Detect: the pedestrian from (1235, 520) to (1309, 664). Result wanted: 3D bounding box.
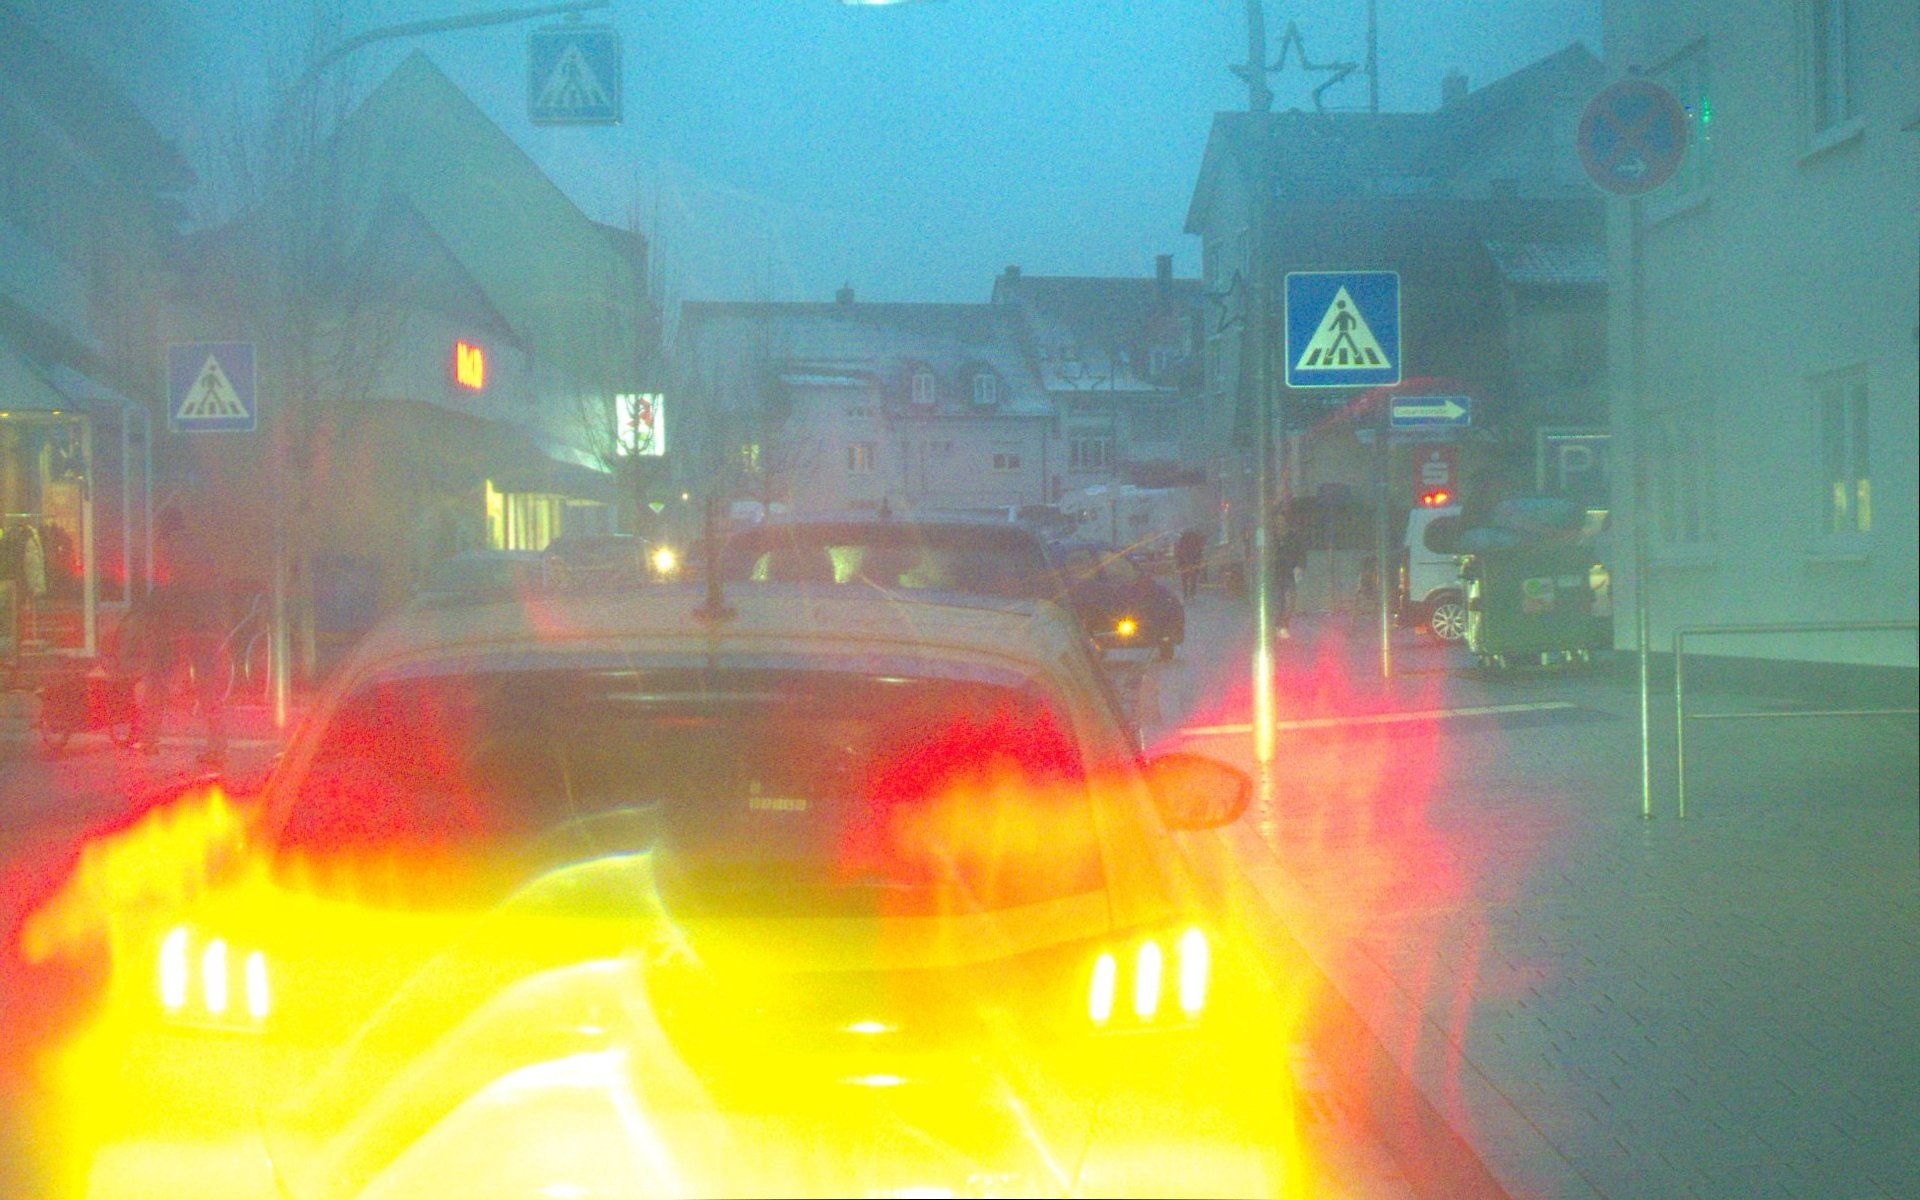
[{"bbox_3d":[4.393,-0.117,48.490,1.016,2.007,1.275,0,1,5],"label":"pedestrian"}]

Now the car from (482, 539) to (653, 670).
[{"bbox_3d":[-5.450,0.033,48.246,1.993,1.746,4.362,0,1,-1],"label":"car"}]

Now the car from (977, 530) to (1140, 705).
[{"bbox_3d":[1.167,0.164,42.454,1.641,2.007,4.001,-2,1,-3],"label":"car"}]

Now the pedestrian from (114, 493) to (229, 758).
[{"bbox_3d":[-5.659,0.171,24.696,0.703,1.870,0.617,1,2,-6],"label":"pedestrian"}]

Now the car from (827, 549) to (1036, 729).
[{"bbox_3d":[-0.204,0.314,32.924,1.827,1.596,4.581,0,1,2],"label":"car"}]

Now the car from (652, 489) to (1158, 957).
[{"bbox_3d":[-0.168,0.422,14.281,1.798,1.656,4.000,0,0,1],"label":"car"}]

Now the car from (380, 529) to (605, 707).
[{"bbox_3d":[-5.527,0.175,41.174,1.993,2.007,4.361,0,1,1],"label":"car"}]

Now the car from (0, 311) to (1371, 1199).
[{"bbox_3d":[-0.418,0.501,6.416,1.994,1.789,4.648,0,2,2],"label":"car"}]

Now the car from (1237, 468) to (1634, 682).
[{"bbox_3d":[4.600,-0.245,33.648,3.697,2.007,1.689,1,0,3],"label":"car"}]

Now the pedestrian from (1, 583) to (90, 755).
[{"bbox_3d":[-6.626,0.495,24.917,0.553,1.229,0.434,0,1,-4],"label":"pedestrian"}]
